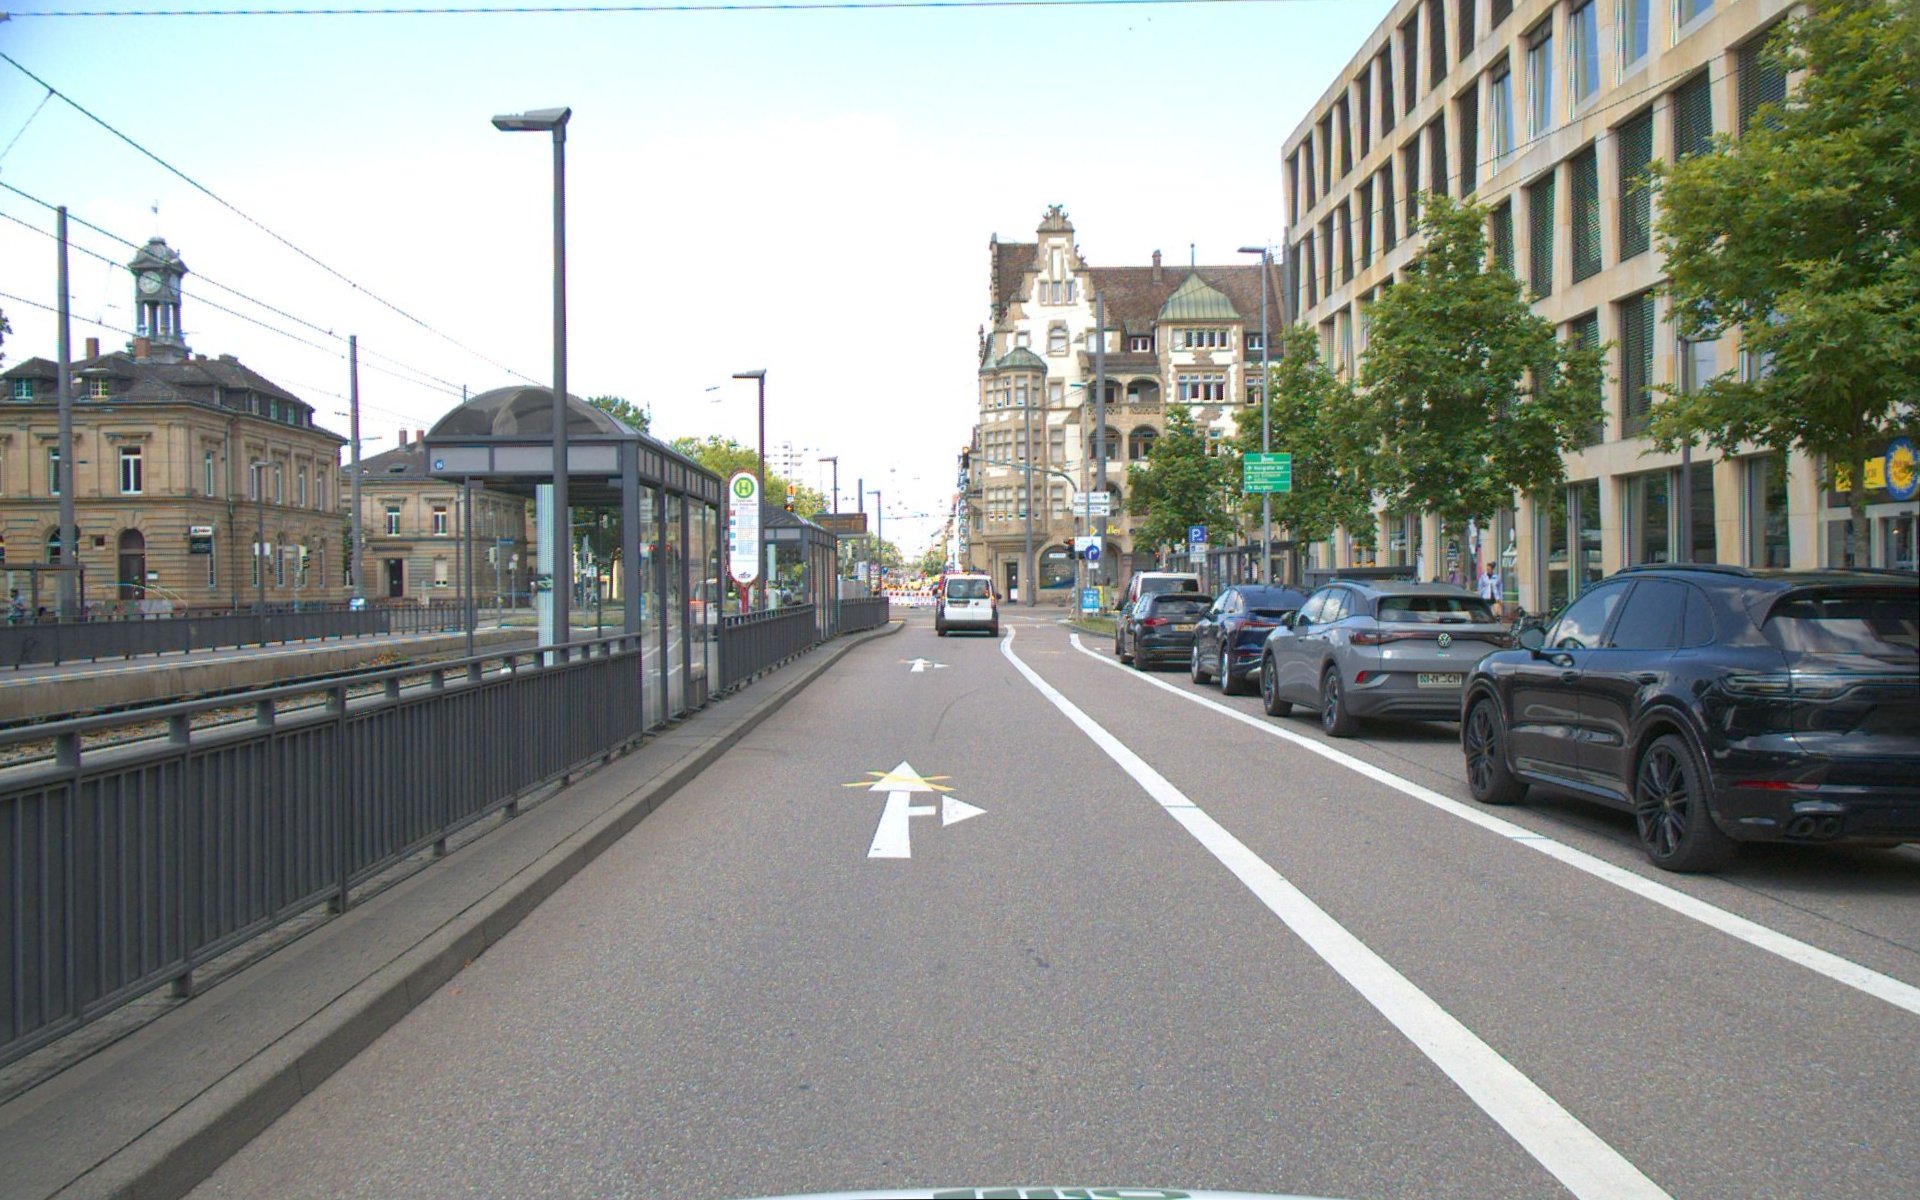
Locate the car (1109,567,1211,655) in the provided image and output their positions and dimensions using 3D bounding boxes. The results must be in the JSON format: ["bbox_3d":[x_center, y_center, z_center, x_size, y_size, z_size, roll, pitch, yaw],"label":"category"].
[{"bbox_3d":[4.340,0.204,36.270,1.675,1.828,3.360,1,1,-3],"label":"car"}]

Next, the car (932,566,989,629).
[{"bbox_3d":[-0.031,-0.117,56.018,1.831,2.055,3.999,0,1,-2],"label":"car"}]

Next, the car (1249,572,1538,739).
[{"bbox_3d":[4.669,0.504,18.611,1.771,1.619,4.838,1,1,-3],"label":"car"}]

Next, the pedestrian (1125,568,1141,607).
[{"bbox_3d":[7.291,-0.512,69.562,0.523,1.599,0.542,-3,0,-3],"label":"pedestrian"}]

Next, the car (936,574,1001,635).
[{"bbox_3d":[0.227,0.109,49.908,1.831,1.777,3.999,0,1,-2],"label":"car"}]

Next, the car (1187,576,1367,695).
[{"bbox_3d":[4.689,0.466,25.057,1.770,1.619,4.304,1,1,-2],"label":"car"}]

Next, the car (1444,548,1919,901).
[{"bbox_3d":[4.720,0.569,10.430,1.703,1.698,4.838,1,1,-3],"label":"car"}]

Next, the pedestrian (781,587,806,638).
[{"bbox_3d":[-3.956,0.291,39.321,0.503,1.160,0.501,-3,0,-1],"label":"pedestrian"}]

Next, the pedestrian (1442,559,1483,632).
[{"bbox_3d":[12.171,-0.116,40.073,0.745,1.753,0.659,-1,0,-2],"label":"pedestrian"}]

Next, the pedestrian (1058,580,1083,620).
[{"bbox_3d":[4.528,-0.005,67.803,0.793,1.599,0.626,-3,0,-17],"label":"pedestrian"}]

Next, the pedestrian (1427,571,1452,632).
[{"bbox_3d":[11.573,0.031,39.925,0.430,1.474,0.434,-1,0,-2],"label":"pedestrian"}]

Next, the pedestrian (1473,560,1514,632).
[{"bbox_3d":[12.924,-0.101,40.102,0.745,1.699,0.659,-1,0,-2],"label":"pedestrian"}]

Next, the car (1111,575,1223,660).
[{"bbox_3d":[3.855,0.276,31.394,1.414,1.495,4.090,1,1,-3],"label":"car"}]
